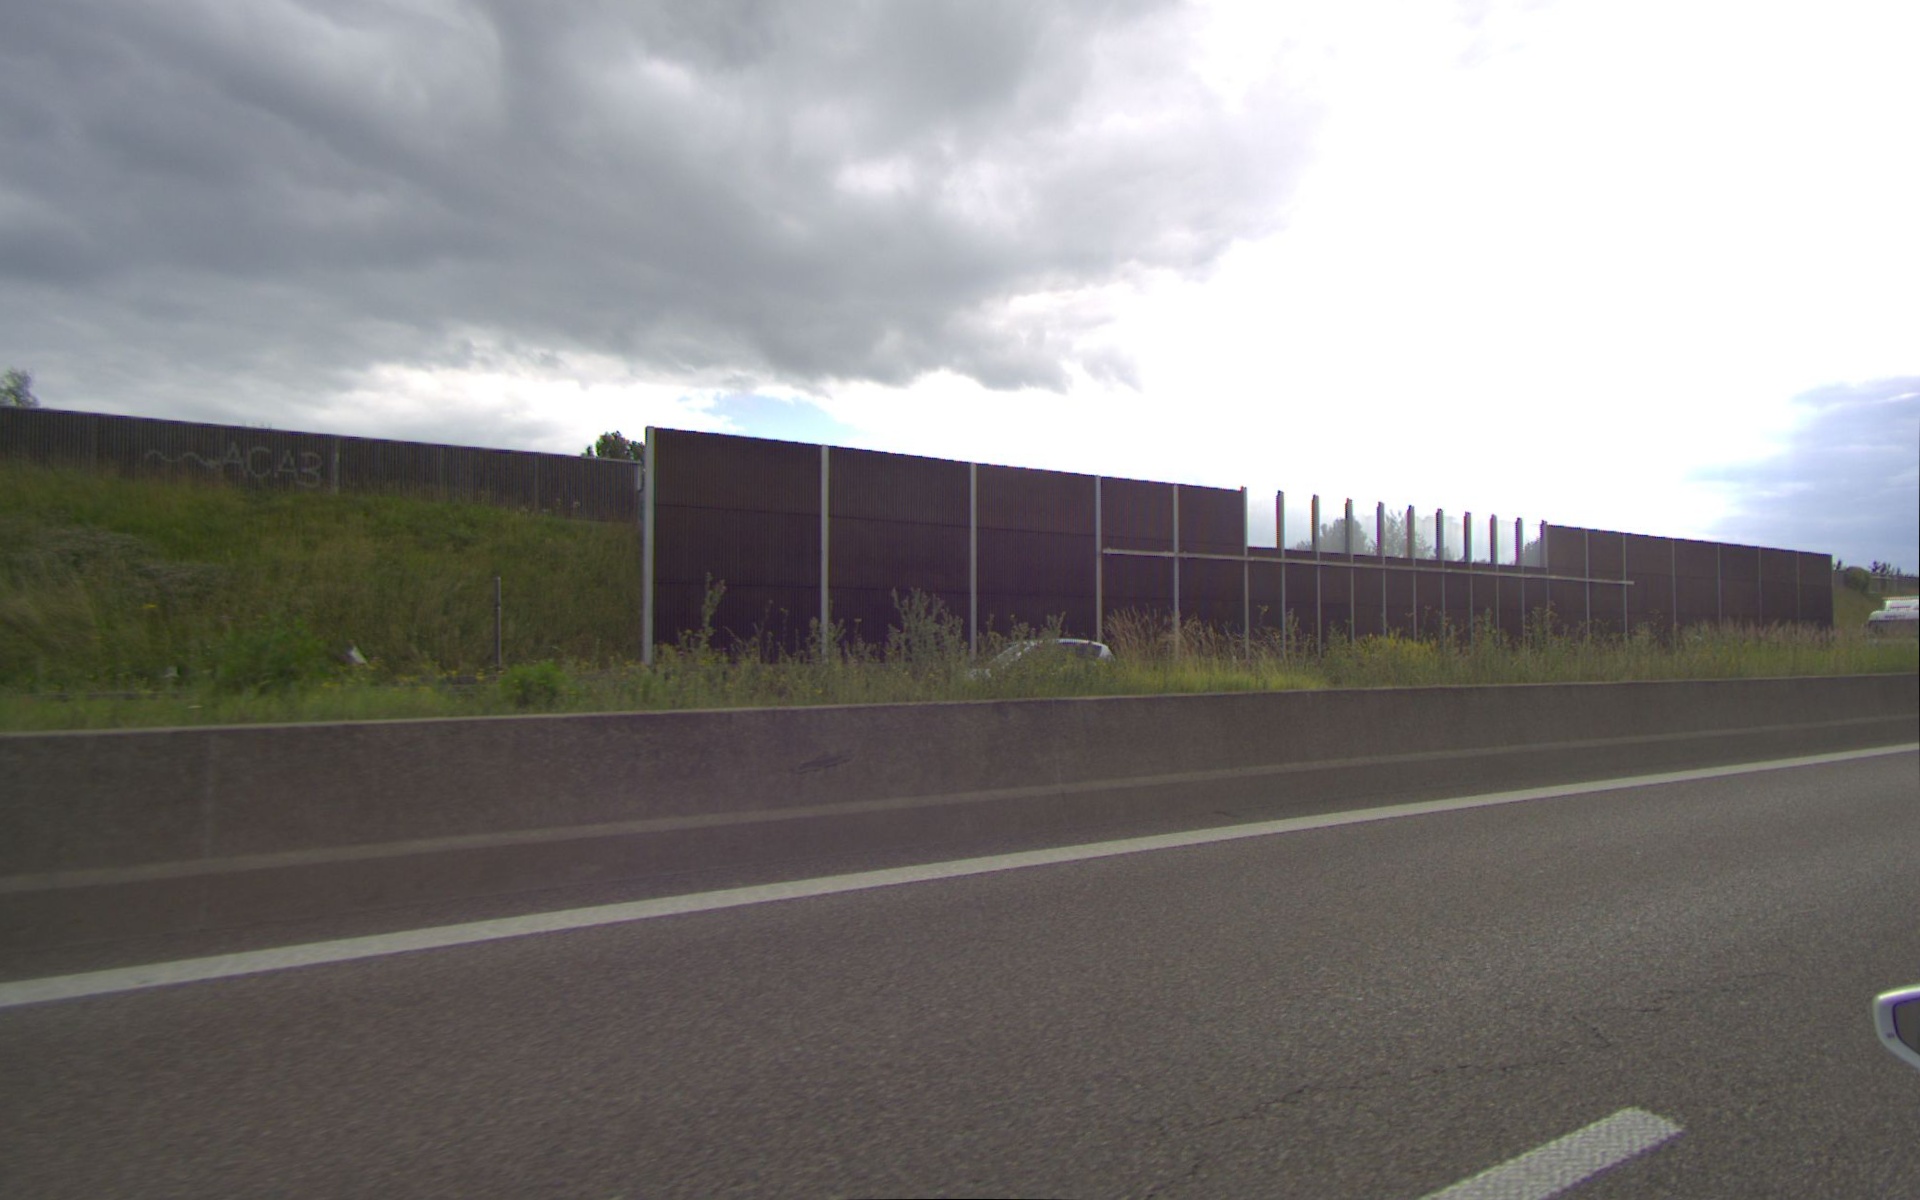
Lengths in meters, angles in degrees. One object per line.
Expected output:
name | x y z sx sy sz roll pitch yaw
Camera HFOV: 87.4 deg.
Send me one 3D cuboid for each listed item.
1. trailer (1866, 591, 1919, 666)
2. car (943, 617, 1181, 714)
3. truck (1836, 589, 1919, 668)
trailer | 56.843 1.661 57.554 12.528 4.033 3.654 1 0 -30
car | 2.108 1.251 20.277 4.665 1.773 1.718 1 -2 -30
truck | 50.586 1.502 53.893 5.942 4.000 3.651 1 0 -30
